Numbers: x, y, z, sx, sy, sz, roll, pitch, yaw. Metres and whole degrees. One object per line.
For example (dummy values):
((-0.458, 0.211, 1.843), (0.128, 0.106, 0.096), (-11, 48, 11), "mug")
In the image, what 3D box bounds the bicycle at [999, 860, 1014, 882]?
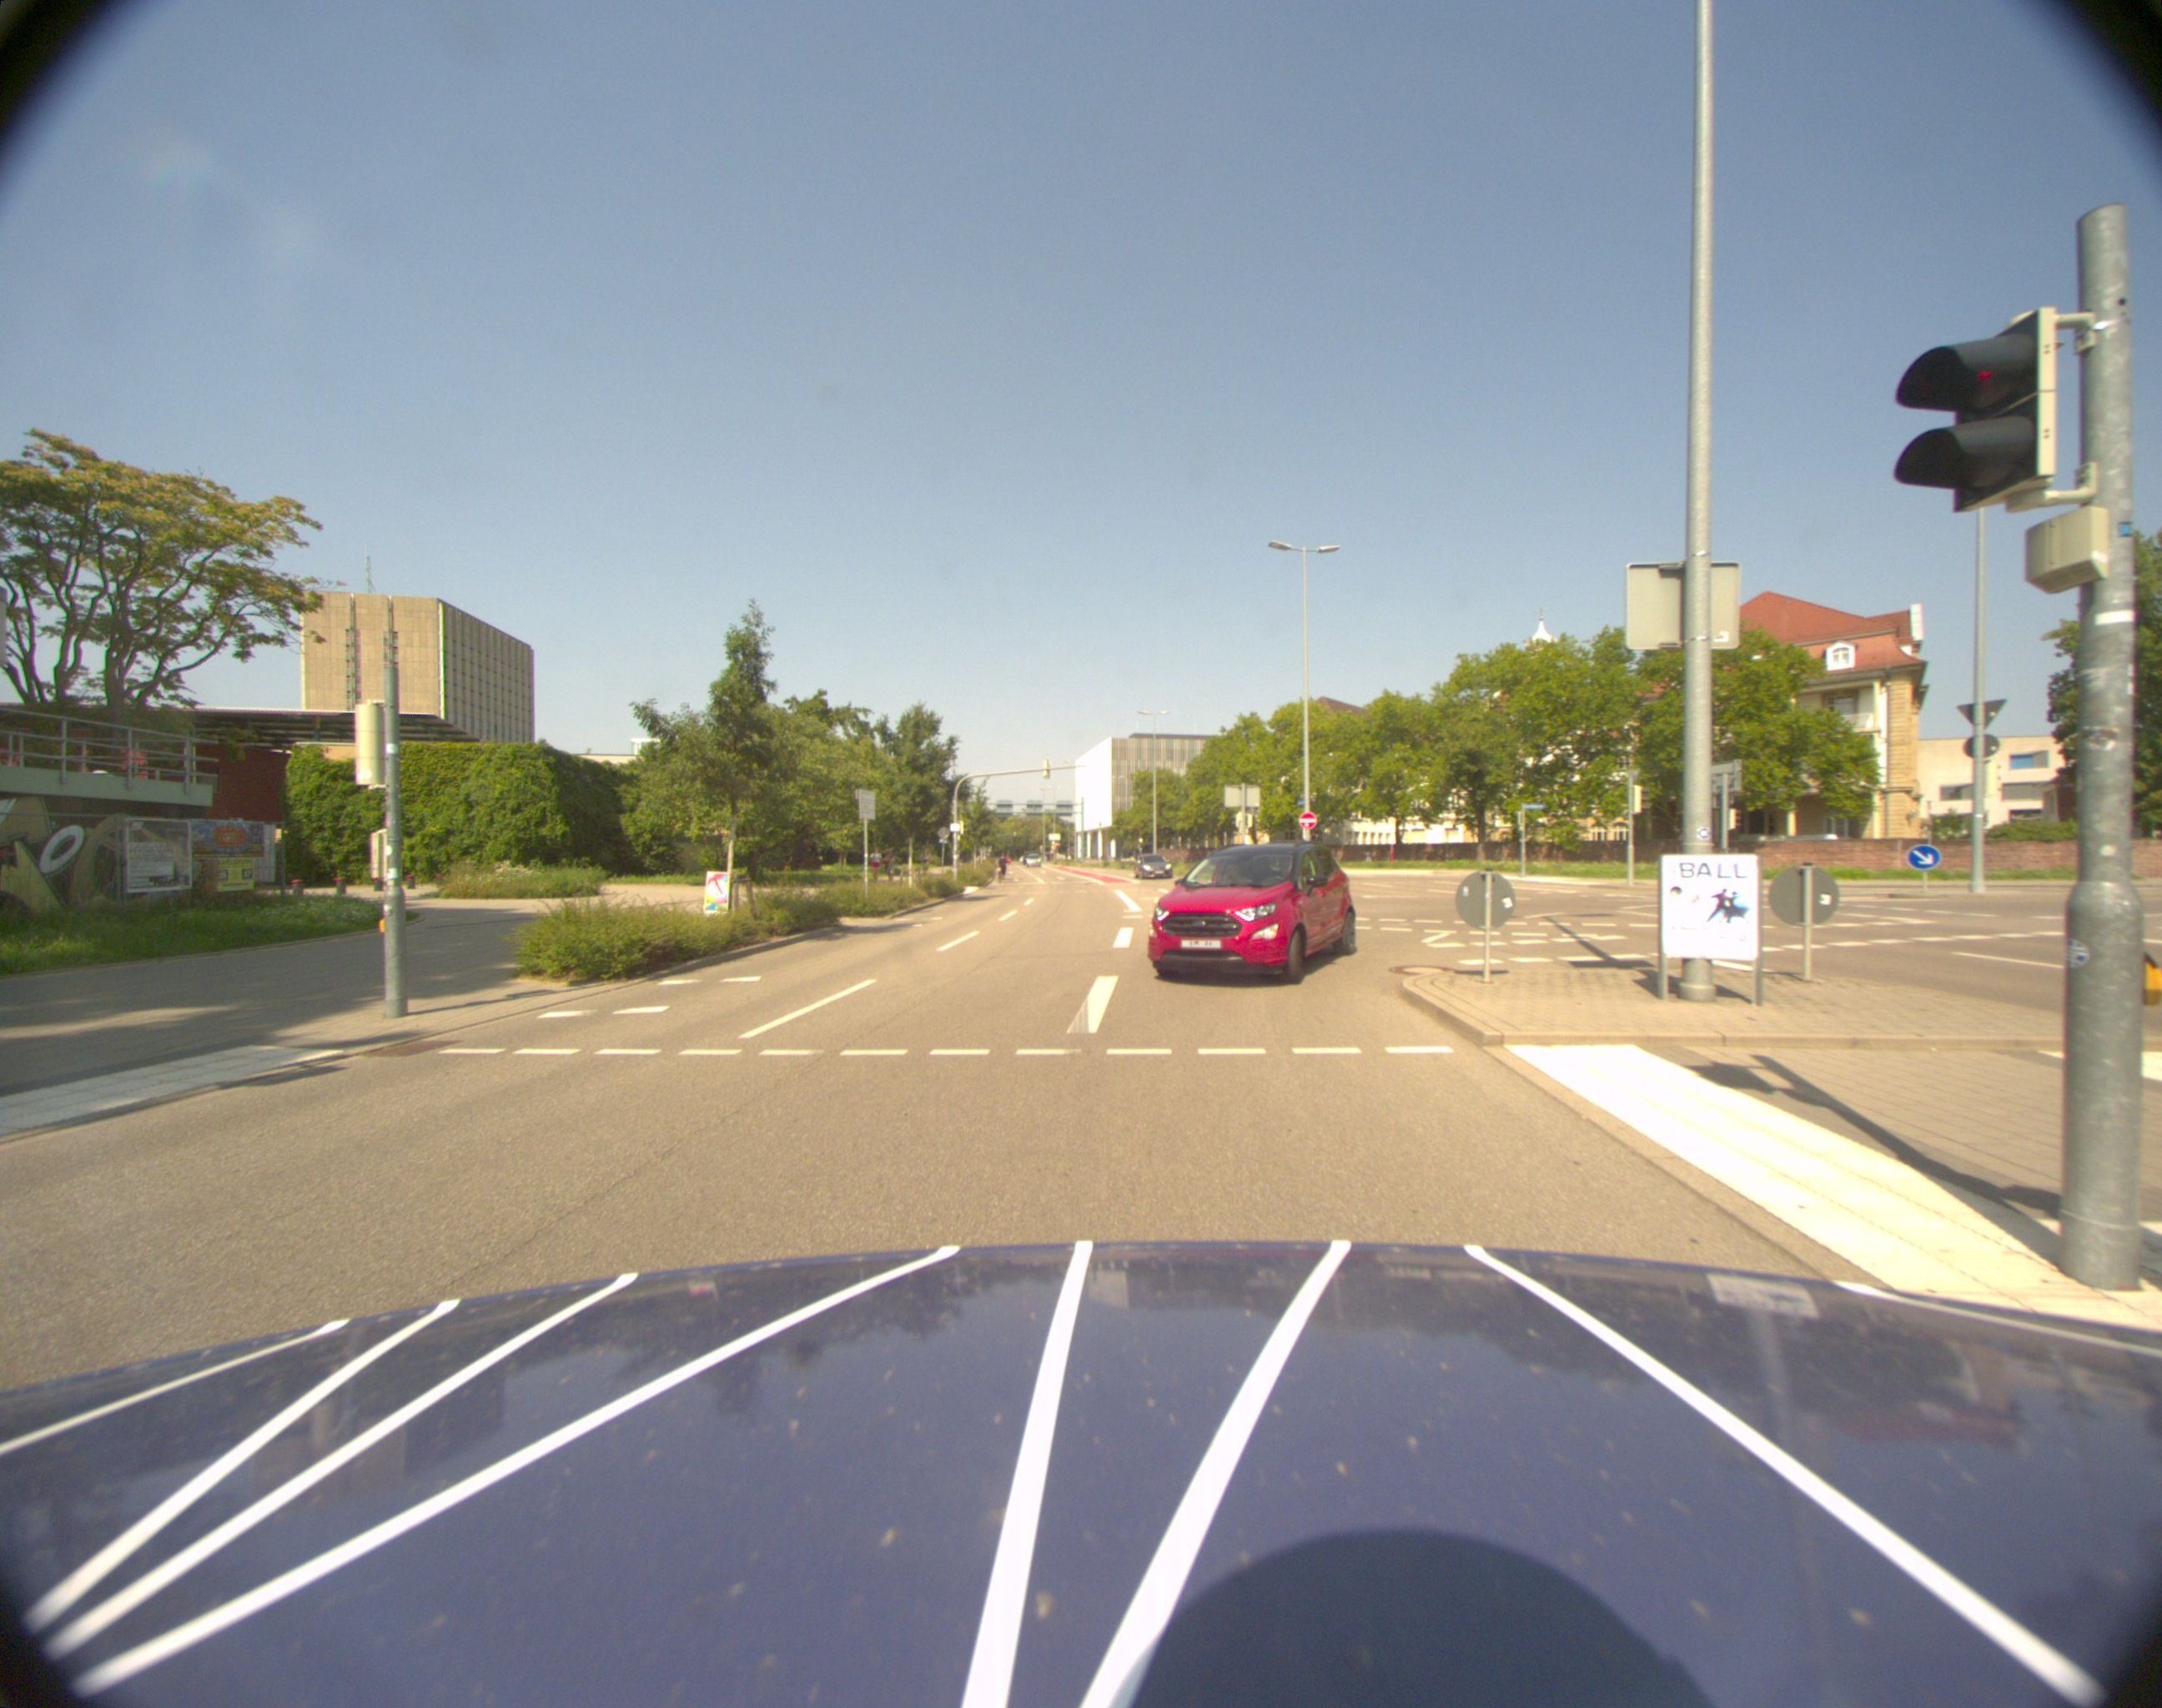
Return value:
((-4.226, 0.932, 43.158), (0.786, 1.205, 1.788), (0, 0, -5), "bicycle")

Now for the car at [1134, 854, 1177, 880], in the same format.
((4.263, 0.716, 43.739), (1.791, 1.349, 3.422), (-2, 0, -6), "car")

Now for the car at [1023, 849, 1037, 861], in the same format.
((-7.721, 0.160, 114.804), (1.999, 1.769, 3.998), (-1, 0, -6), "car")

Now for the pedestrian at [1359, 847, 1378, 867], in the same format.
((27.965, 0.277, 73.899), (1.074, 2.002, 1.232), (0, 1, -28), "pedestrian")

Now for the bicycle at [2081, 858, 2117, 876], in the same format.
((48.216, 0.623, 35.978), (1.486, 0.807, 0.437), (0, 1, -12), "bicycle")

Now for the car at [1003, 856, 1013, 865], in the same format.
((-14.948, 1.403, 156.536), (1.999, 1.769, 3.998), (-1, 0, -6), "car")

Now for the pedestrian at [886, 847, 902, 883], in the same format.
((-9.208, 0.541, 37.435), (0.694, 1.761, 0.587), (0, 1, -5), "pedestrian")

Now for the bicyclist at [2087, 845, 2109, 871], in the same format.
((48.116, 0.177, 35.953), (0.541, 1.226, 0.432), (0, 1, -12), "bicyclist")

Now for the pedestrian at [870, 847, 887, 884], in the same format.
((-9.913, 0.557, 37.272), (0.694, 1.761, 0.587), (0, 1, -5), "pedestrian")

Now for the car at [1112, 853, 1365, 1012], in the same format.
((2.237, 0.813, 9.846), (1.840, 1.605, 4.008), (-1, -1, 33), "car")

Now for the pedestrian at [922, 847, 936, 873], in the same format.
((-10.298, 0.388, 51.466), (0.793, 1.758, 0.826), (0, 1, -5), "pedestrian")

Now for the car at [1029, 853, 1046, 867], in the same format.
((-5.519, 0.765, 95.481), (1.999, 1.669, 3.998), (-1, 0, -6), "car")

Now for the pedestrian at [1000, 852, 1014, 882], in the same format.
((-4.210, 0.721, 43.041), (0.780, 1.659, 0.548), (0, 1, -5), "pedestrian")
